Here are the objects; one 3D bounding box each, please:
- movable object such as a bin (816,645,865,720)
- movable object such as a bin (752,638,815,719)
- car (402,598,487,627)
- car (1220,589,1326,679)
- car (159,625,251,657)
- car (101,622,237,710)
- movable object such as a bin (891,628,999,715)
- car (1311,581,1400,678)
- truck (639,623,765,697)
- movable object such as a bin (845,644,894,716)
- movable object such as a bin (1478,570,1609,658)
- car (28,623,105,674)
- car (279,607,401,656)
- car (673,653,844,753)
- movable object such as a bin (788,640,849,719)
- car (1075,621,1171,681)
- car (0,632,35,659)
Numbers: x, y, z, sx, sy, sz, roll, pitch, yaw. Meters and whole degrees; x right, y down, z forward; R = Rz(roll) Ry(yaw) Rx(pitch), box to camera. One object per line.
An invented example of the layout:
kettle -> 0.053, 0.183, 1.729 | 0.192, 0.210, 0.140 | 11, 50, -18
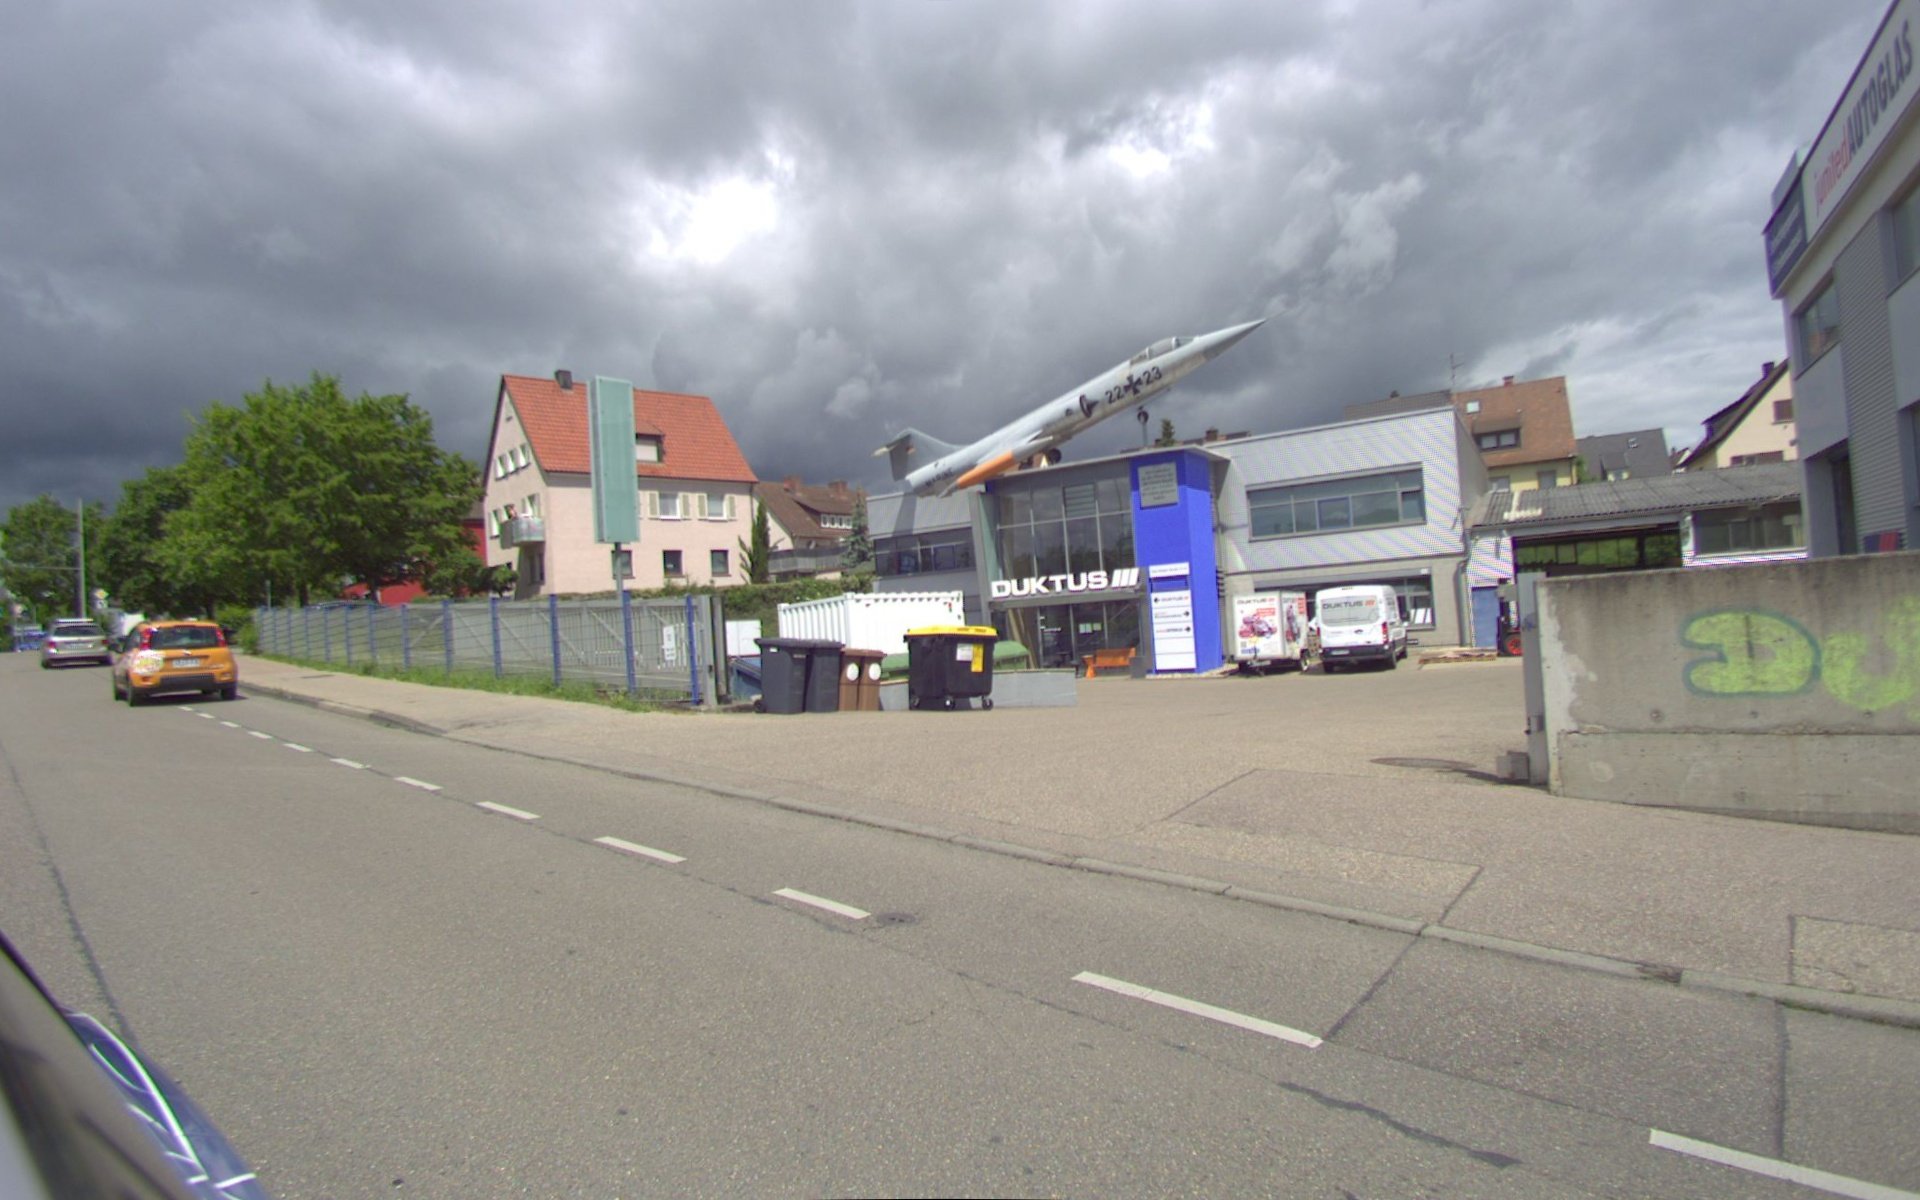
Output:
movable object such as a bin -> -1.752, 1.210, 14.901 | 0.498, 1.068, 0.496 | -2, -4, 42
movable object such as a bin -> -2.435, 1.074, 13.979 | 0.517, 1.089, 0.655 | -2, -4, 42
car -> -28.699, 0.681, 56.417 | 3.958, 1.517, 1.588 | -1, 0, -41
car -> 10.426, 1.058, 33.503 | 1.986, 2.620, 4.680 | -6, -2, 32
car -> -40.093, 2.133, 53.770 | 3.800, 1.517, 1.588 | -1, 0, -41
car -> -15.412, 1.208, 19.649 | 3.683, 1.502, 1.583 | -1, 0, 44
movable object such as a bin -> -0.231, 1.125, 16.164 | 1.232, 1.316, 1.207 | -2, -4, 42
car -> 12.197, 0.840, 31.060 | 1.982, 2.620, 4.581 | -6, -2, 26
truck -> -10.815, 2.361, 42.011 | 2.288, 2.752, 6.602 | -1, 0, -41
movable object such as a bin -> -1.356, 1.193, 15.224 | 0.517, 1.053, 0.509 | -2, -4, 42
movable object such as a bin -> 17.249, 0.426, 30.006 | 3.134, 2.368, 1.419 | -5, -2, 31
car -> -29.586, 1.561, 33.477 | 4.224, 1.544, 1.624 | -2, 0, 45
car -> -24.889, 1.221, 40.713 | 1.523, 1.789, 3.902 | -2, 0, 42
car -> -3.664, 1.757, 18.065 | 1.414, 1.470, 3.365 | -1, 0, -43
movable object such as a bin -> -2.008, 1.125, 14.401 | 0.517, 1.089, 0.655 | -2, -4, 42
car -> 6.018, 1.831, 36.930 | 1.851, 1.790, 4.575 | -6, -2, 29
car -> -75.853, 3.579, 80.352 | 1.928, 1.984, 5.148 | -1, 0, -23
